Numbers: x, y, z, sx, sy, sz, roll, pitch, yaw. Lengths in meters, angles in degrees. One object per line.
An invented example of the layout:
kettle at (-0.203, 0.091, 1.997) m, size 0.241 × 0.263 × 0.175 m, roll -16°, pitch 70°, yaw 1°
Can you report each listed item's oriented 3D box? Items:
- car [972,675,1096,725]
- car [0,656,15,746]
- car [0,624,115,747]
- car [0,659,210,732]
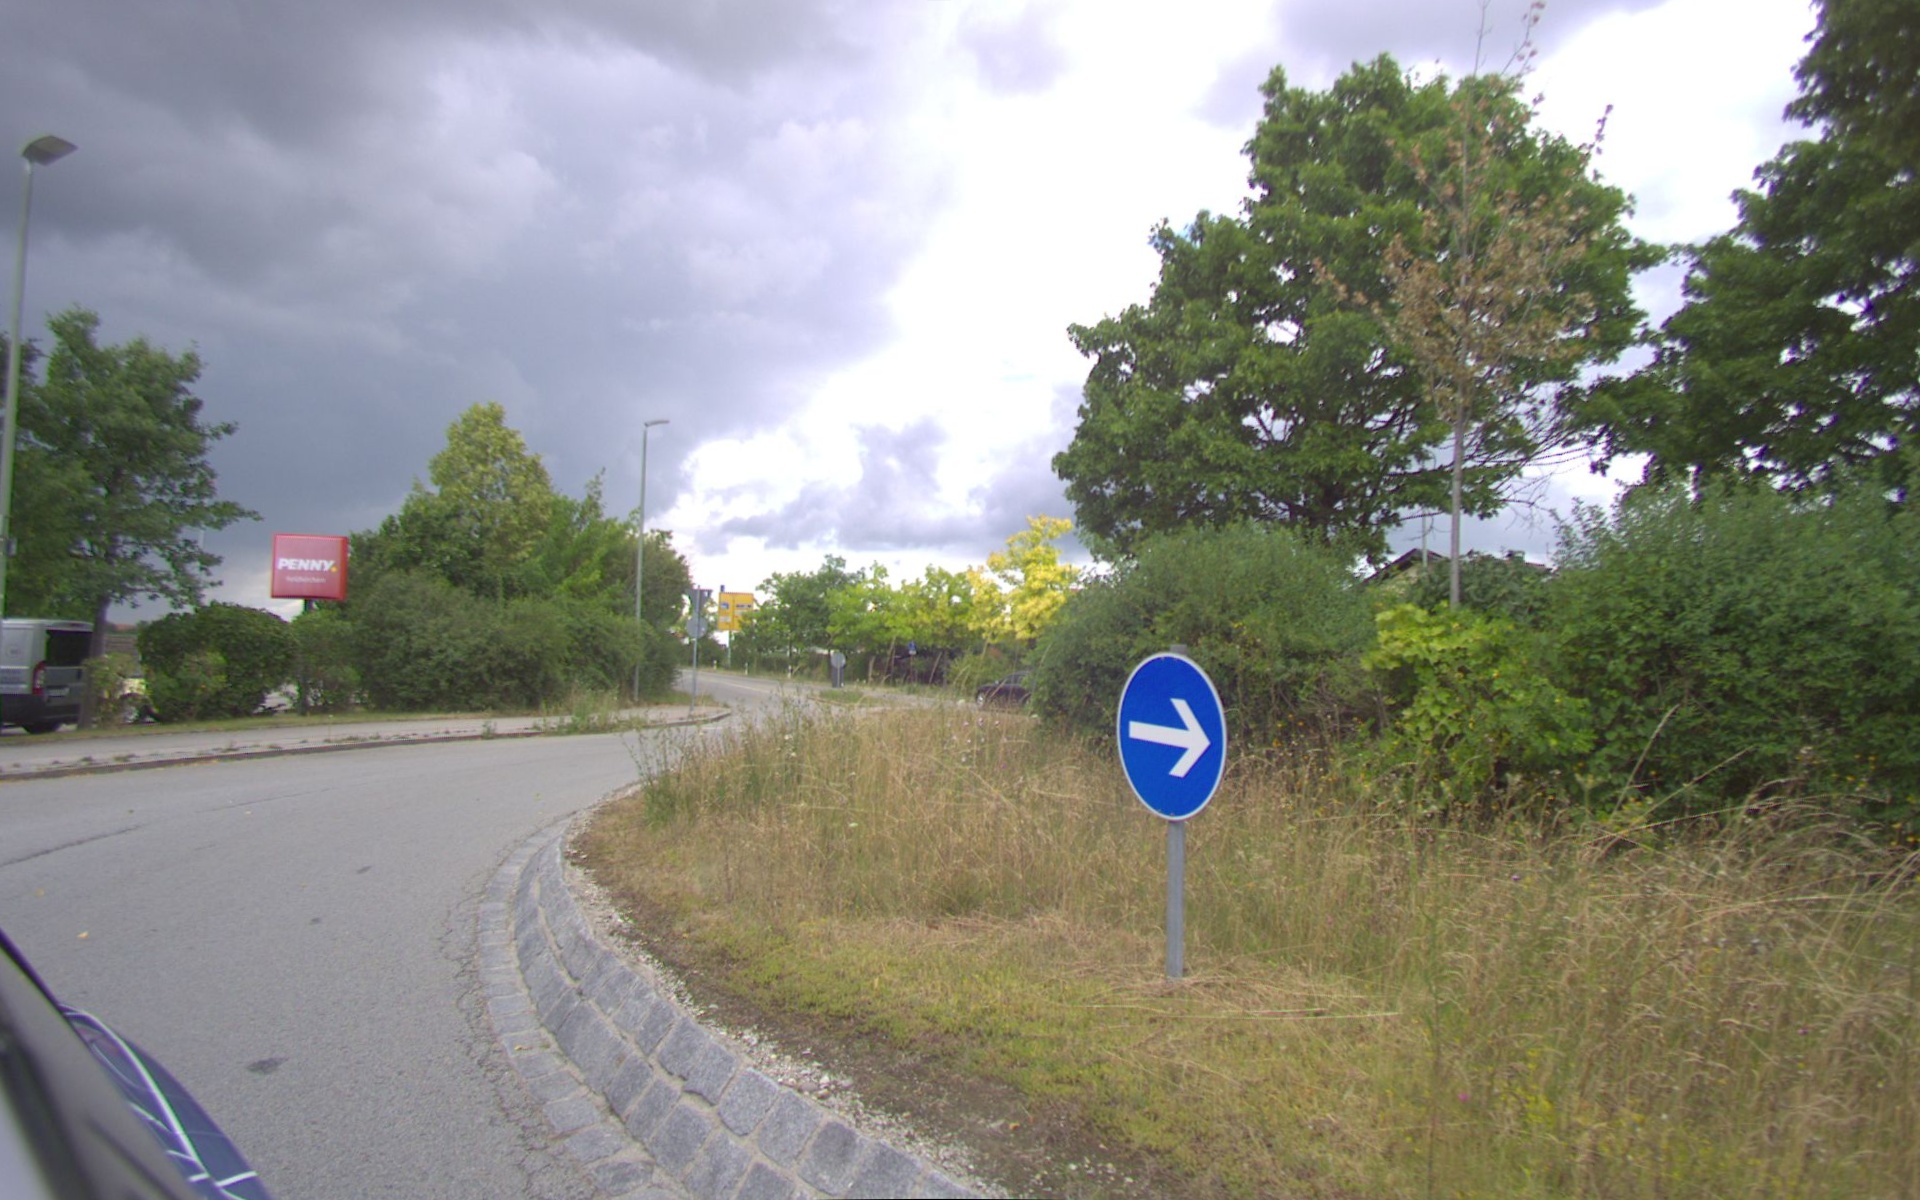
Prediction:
car at (2.264, 3.125, 32.242) m, size 1.902 × 1.357 × 4.484 m, roll 2°, pitch -3°, yaw -27°
car at (-18.107, 1.585, 15.932) m, size 4.342 × 1.505 × 1.767 m, roll 2°, pitch -4°, yaw -14°
car at (-18.756, 1.522, 18.591) m, size 4.342 × 2.175 × 2.162 m, roll 2°, pitch -4°, yaw -14°
car at (-19.750, 2.158, 23.028) m, size 3.872 × 1.568 × 1.767 m, roll 2°, pitch -4°, yaw -14°
